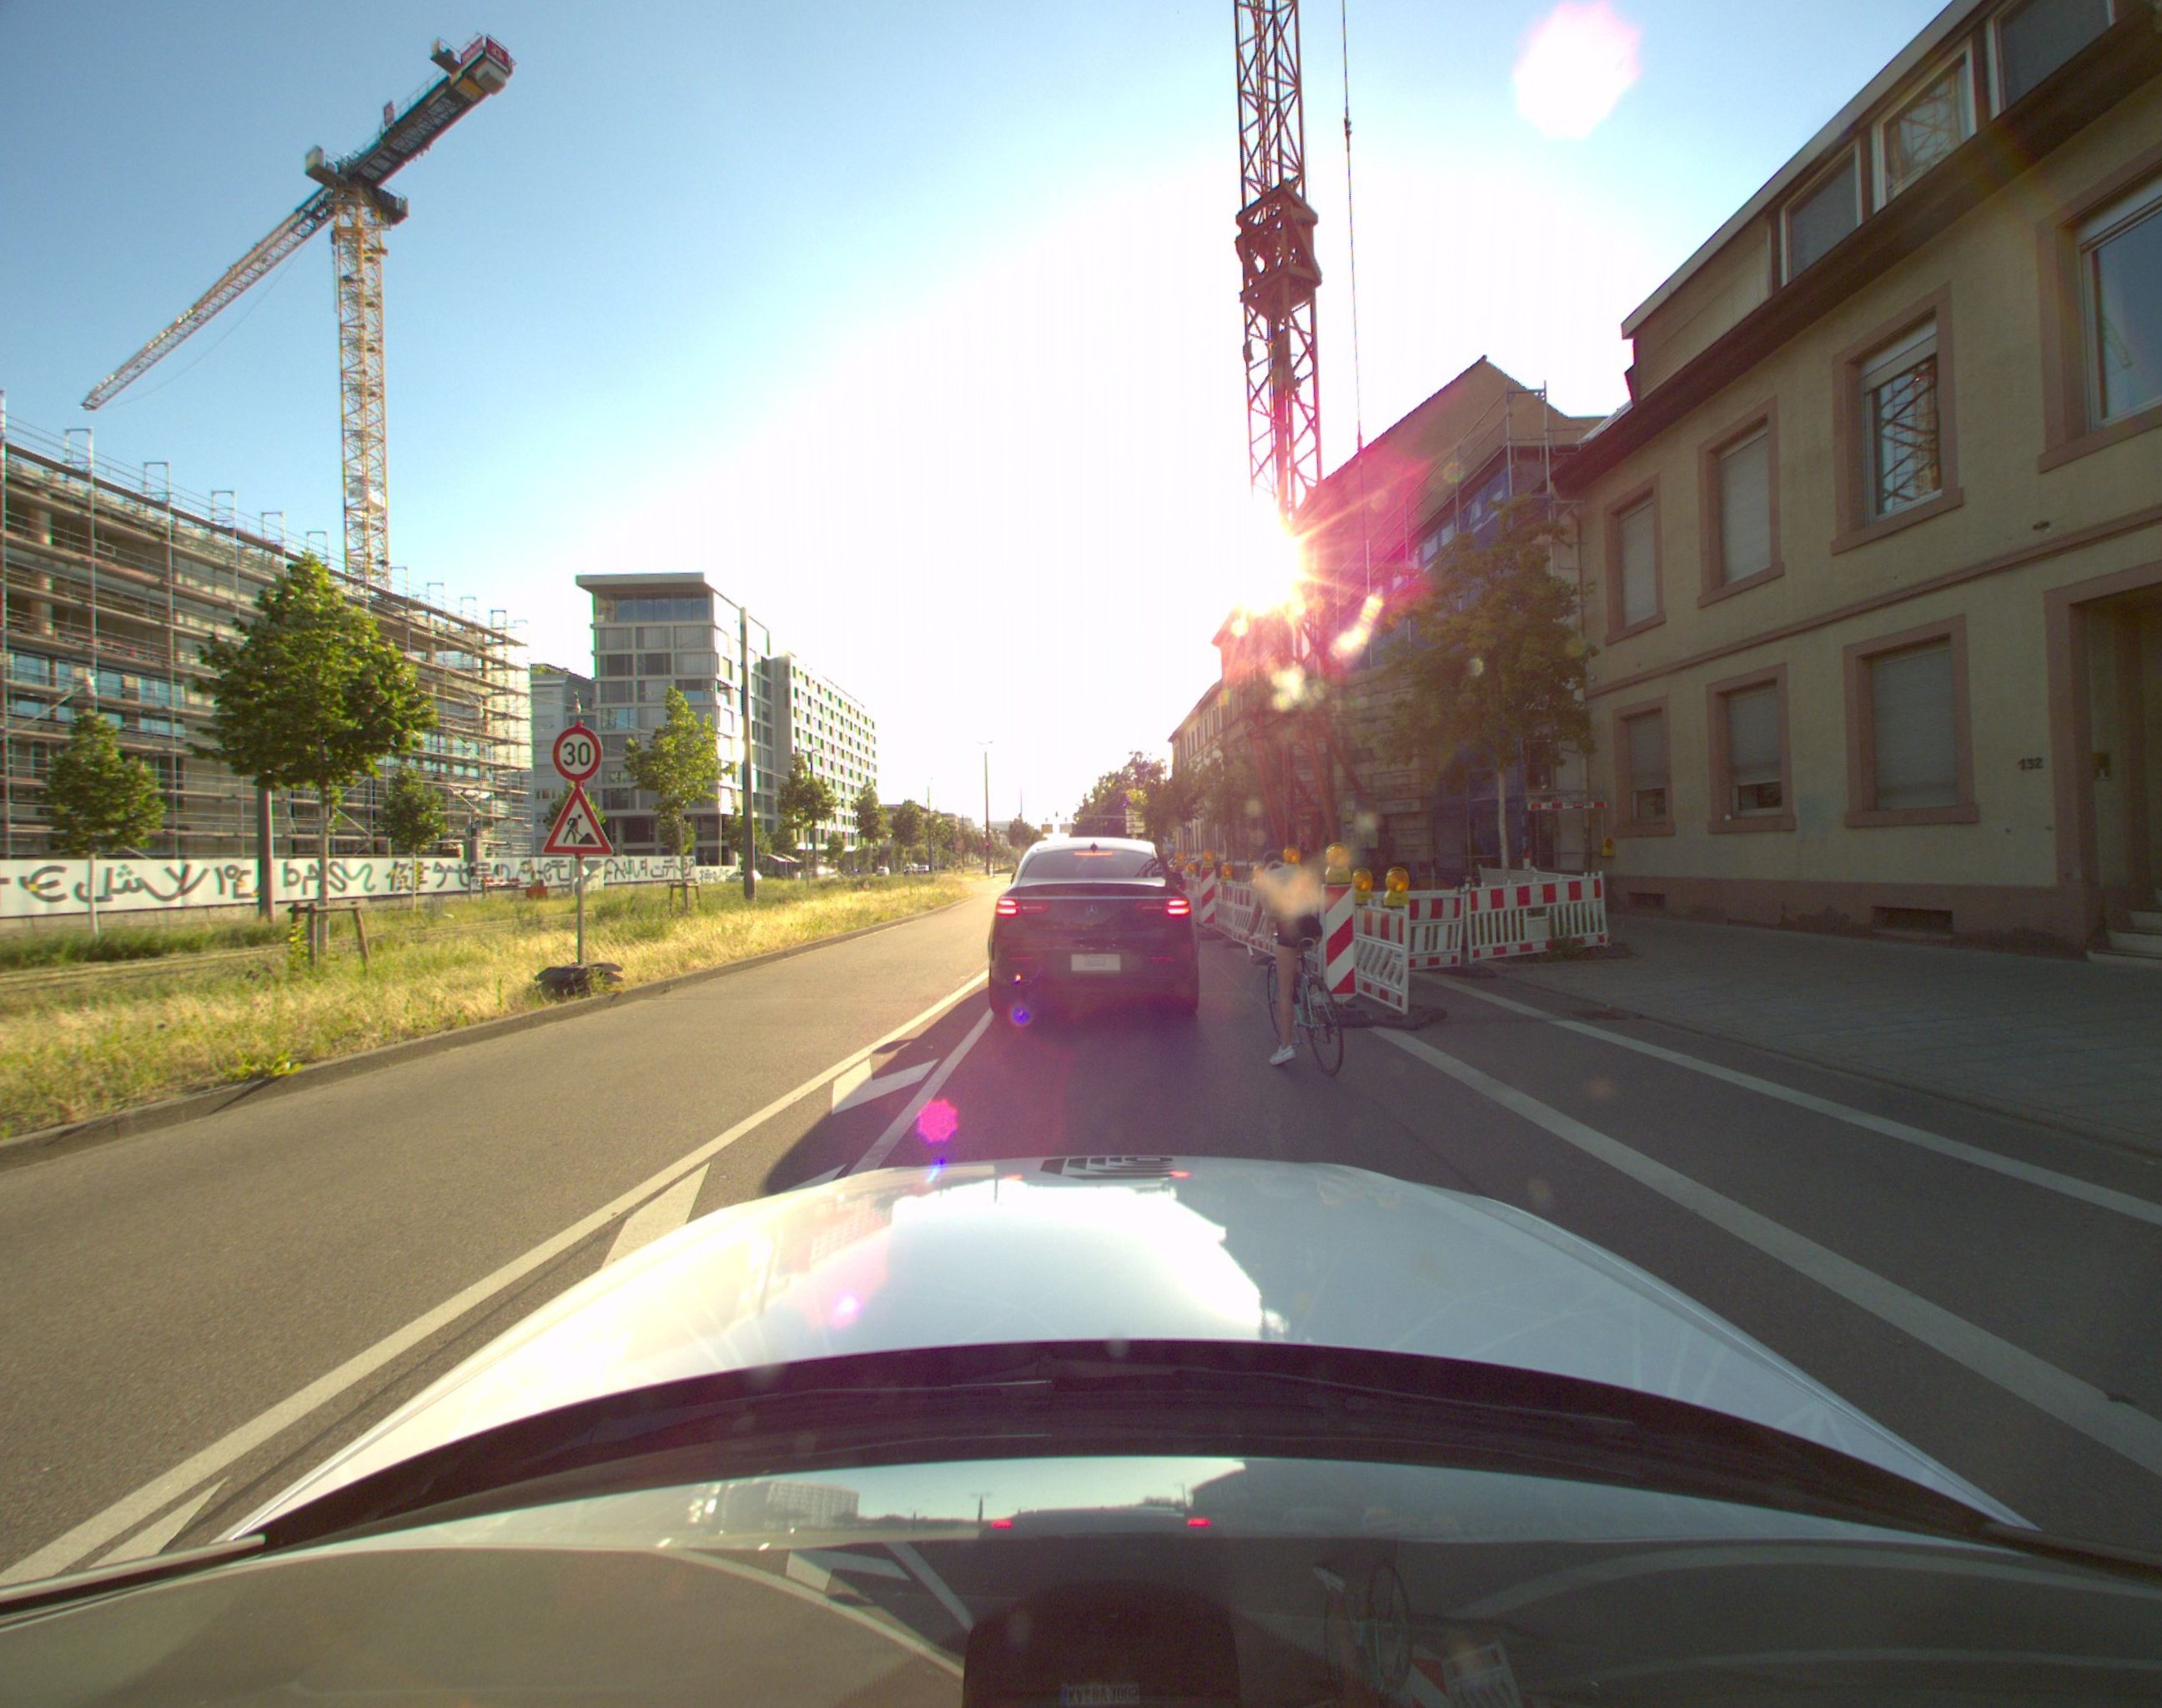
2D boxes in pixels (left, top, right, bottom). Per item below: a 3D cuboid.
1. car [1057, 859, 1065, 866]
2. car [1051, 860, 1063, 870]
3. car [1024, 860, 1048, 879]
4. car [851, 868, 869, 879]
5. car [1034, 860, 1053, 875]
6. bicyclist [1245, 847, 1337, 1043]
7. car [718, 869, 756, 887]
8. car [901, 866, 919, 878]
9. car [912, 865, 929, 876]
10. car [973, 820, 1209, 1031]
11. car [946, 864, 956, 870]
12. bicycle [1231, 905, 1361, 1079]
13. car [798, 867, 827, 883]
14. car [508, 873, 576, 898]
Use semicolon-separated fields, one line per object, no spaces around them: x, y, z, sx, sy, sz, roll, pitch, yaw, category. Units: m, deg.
-4.601;1.911;184.496;1.703;1.442;3.581;0;-1;0;car
-3.555;1.678;120.977;1.703;1.442;3.581;0;-1;0;car
-3.523;1.221;64.136;1.703;1.442;3.581;0;-1;0;car
-32.173;2.811;118.525;1.703;1.442;3.581;0;-1;0;car
-3.701;1.365;81.014;1.703;1.442;3.581;0;-1;0;car
1.563;0.649;6.130;0.521;1.395;0.614;0;-1;-1;bicyclist
-29.109;2.008;69.074;1.703;1.442;3.581;0;-1;0;car
-25.844;2.706;123.243;1.782;1.684;3.643;0;-1;5;car
-22.673;2.335;115.410;1.703;1.442;3.581;0;-1;0;car
0.149;0.624;8.906;1.986;1.772;4.001;0;-1;2;car
-30.712;3.016;192.733;1.703;1.442;3.581;0;-1;0;car
1.584;0.965;6.262;0.511;1.052;1.724;0;-1;-1;bicycle
-26.899;2.094;81.710;1.703;1.442;3.581;0;-1;0;car
-32.555;1.874;49.284;1.703;1.442;3.581;0;-1;0;car
